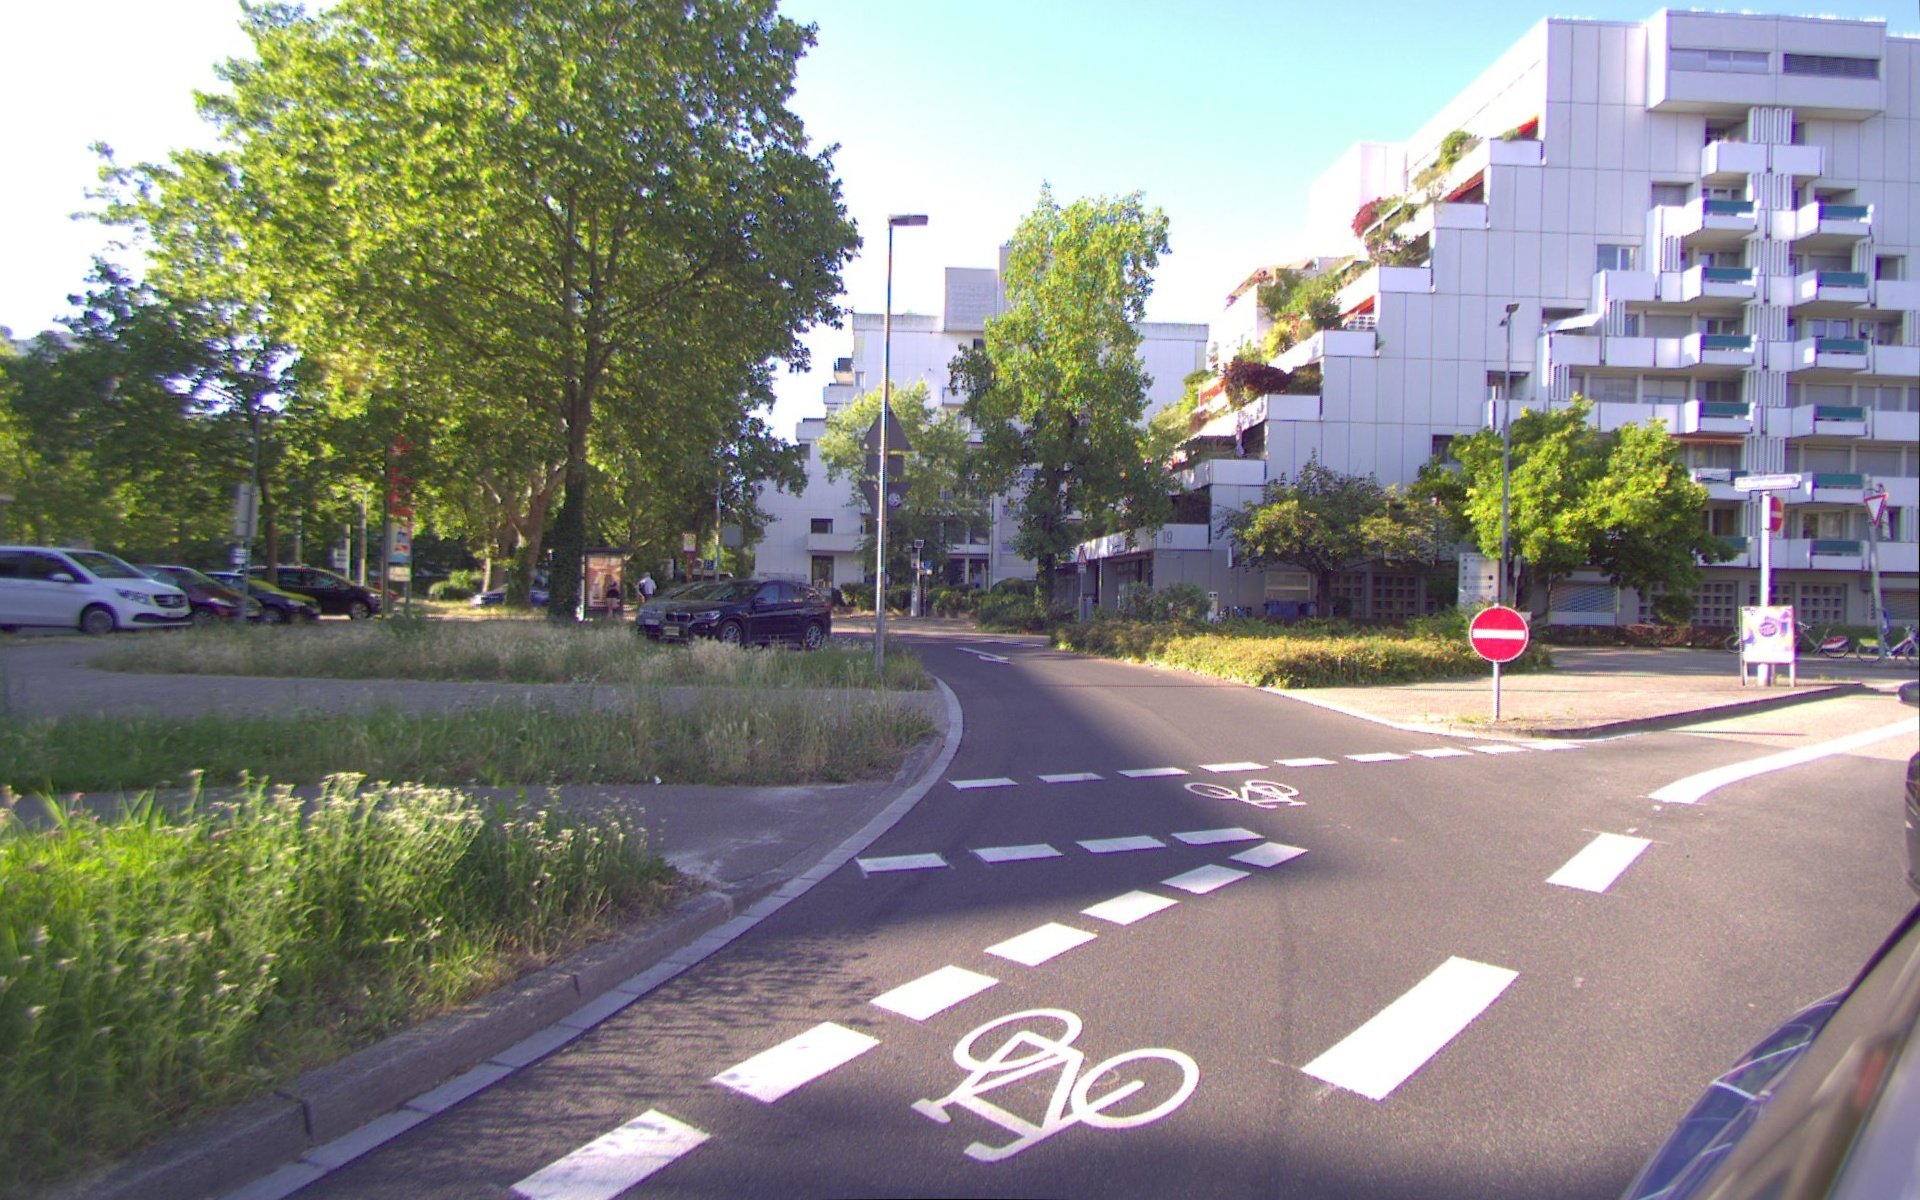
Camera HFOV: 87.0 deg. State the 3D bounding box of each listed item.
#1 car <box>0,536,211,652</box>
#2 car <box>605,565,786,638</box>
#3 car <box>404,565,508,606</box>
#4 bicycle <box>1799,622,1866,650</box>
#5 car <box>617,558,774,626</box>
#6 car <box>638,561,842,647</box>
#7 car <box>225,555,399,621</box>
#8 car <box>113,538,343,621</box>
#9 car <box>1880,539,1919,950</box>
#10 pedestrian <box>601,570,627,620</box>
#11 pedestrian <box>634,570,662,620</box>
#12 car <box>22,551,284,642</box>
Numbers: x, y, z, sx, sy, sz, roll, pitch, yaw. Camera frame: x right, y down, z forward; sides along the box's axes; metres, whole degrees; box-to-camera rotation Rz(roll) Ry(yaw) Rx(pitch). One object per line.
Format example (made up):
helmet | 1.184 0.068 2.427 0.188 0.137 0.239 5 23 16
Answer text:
car | -19.176 -0.192 21.393 4.951 2.123 2.004 4 0 -5
car | -6.615 0.079 25.762 1.815 1.607 4.317 4 0 33
car | -23.797 -0.696 47.819 4.040 1.821 1.997 -1 1 -41
bicycle | 27.704 1.128 32.139 0.457 0.794 1.572 1 1 -44
car | -7.467 -0.201 28.851 1.864 1.659 3.942 4 0 39
car | -4.890 0.147 23.115 1.925 1.680 4.424 4 0 33
car | -21.208 -0.388 33.375 4.537 1.797 2.005 4 0 -26
car | -19.504 -0.537 27.156 4.541 1.797 2.004 4 0 -5
car | 5.823 0.576 4.805 4.448 1.565 1.841 1 -1 -44
pedestrian | -11.912 -0.182 34.825 0.619 1.683 0.743 1 1 -37
pedestrian | -10.720 -0.191 34.783 0.713 1.683 0.744 1 0 3
car | -19.415 -0.092 24.536 4.541 1.797 2.004 4 0 -5
